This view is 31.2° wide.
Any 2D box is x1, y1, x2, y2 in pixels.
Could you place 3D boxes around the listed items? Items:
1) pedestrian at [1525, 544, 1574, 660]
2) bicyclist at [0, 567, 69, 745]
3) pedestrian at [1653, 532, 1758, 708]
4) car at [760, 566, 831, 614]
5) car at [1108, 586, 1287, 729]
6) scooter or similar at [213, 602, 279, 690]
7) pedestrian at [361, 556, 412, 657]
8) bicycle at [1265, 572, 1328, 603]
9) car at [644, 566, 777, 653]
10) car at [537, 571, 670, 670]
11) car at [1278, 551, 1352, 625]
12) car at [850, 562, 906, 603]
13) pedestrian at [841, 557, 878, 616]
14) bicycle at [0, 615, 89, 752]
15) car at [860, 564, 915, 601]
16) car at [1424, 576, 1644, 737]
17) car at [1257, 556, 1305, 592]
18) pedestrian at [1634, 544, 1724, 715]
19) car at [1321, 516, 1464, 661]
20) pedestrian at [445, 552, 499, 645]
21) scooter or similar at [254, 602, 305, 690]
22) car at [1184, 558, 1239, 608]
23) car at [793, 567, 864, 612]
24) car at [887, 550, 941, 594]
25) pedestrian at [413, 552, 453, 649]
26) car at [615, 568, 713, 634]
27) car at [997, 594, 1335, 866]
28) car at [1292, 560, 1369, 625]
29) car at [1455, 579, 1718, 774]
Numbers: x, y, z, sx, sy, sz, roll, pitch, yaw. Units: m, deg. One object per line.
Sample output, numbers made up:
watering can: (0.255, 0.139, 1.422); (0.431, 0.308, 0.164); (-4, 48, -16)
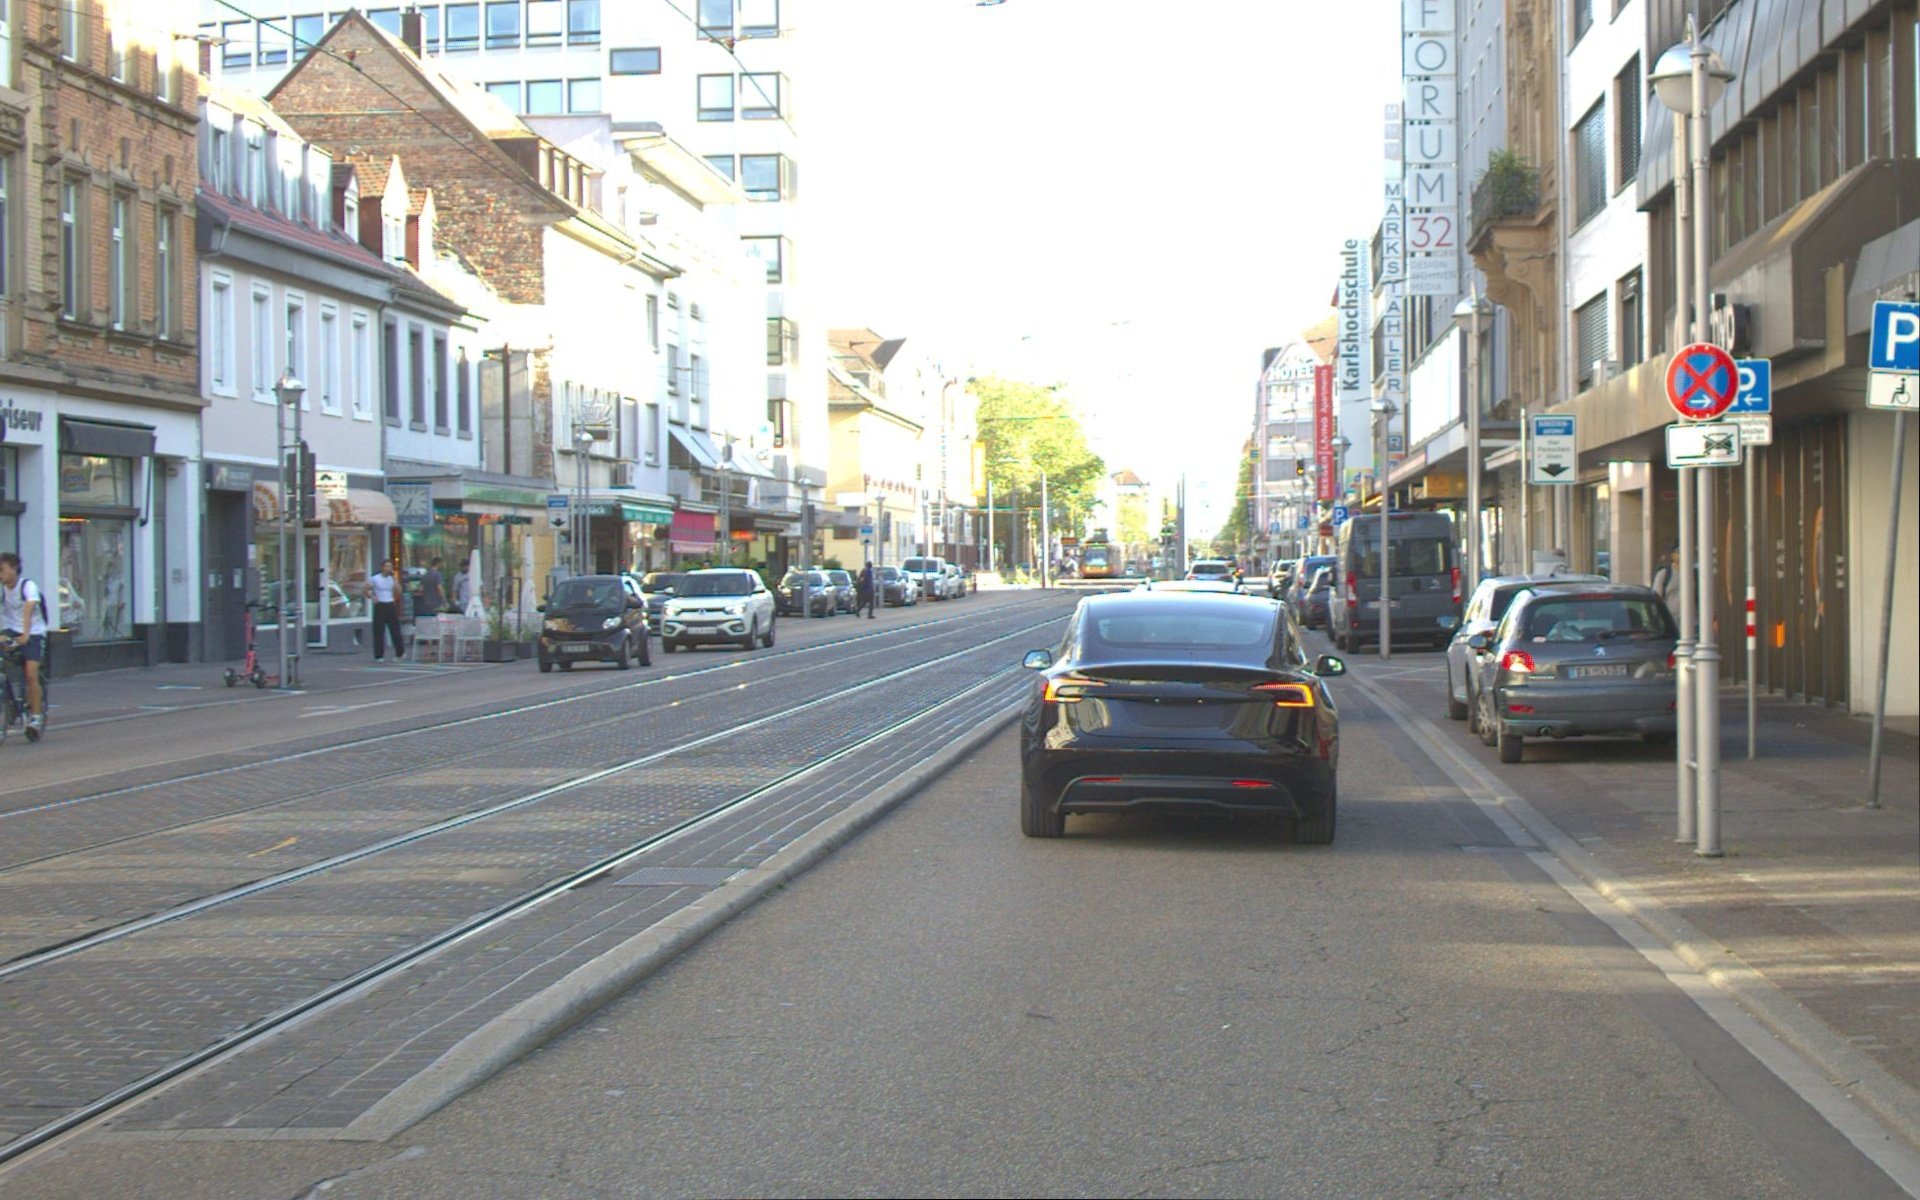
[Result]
pedestrian: (8.817, 0.025, 51.462); (0.556, 1.708, 0.954); (-2, 0, 3)
bicyclist: (-9.322, 0.537, 33.755); (0.750, 1.723, 1.145); (0, 0, 5)
pedestrian: (8.061, 0.209, 37.193); (0.923, 1.836, 0.999); (-2, 0, 5)
car: (-5.372, -0.349, 112.484); (1.770, 1.503, 3.863); (-1, 1, 5)
car: (2.502, 0.569, 36.223); (1.762, 1.414, 4.354); (0, 0, 4)
scooter or similar: (-10.131, 0.638, 48.784); (0.579, 1.197, 1.477); (1, 1, 1)
pedestrian: (-10.055, 0.110, 60.260); (0.614, 1.769, 0.718); (0, 0, 18)
bicycle: (11.880, -0.440, 121.282); (2.159, 1.093, 0.686); (-1, 1, 2)
car: (-4.817, 0.159, 66.991); (1.890, 1.588, 4.262); (-2, 0, 5)
car: (-5.779, 0.312, 56.050); (1.648, 1.560, 2.829); (0, 1, 5)
car: (9.208, -0.336, 89.324); (1.821, 1.864, 3.753); (0, 1, 5)
car: (-3.229, -0.712, 135.807); (1.718, 1.566, 3.848); (-1, 1, 6)
pedestrian: (-3.116, -0.424, 106.763); (0.773, 1.842, 0.827); (0, 1, 34)
bicycle: (-9.301, 0.807, 33.934); (0.750, 1.289, 2.025); (0, 0, 4)
car: (-2.982, -0.740, 141.760); (1.770, 1.503, 3.971); (-1, 1, 6)
car: (5.621, 0.513, 34.112); (1.745, 1.457, 4.295); (-1, 1, 4)
car: (13.989, -1.137, 150.018); (1.994, 1.537, 3.999); (0, 0, 4)
pedestrian: (7.441, 0.293, 35.604); (0.779, 1.746, 1.032); (0, 1, 5)
car: (7.846, -0.241, 62.790); (2.171, 2.453, 5.361); (-2, 1, 4)
pedestrian: (-9.304, -0.028, 65.541); (0.886, 1.769, 0.688); (0, 0, 3)
scooter or similar: (-9.645, 0.640, 48.748); (0.364, 1.197, 1.477); (2, 1, 1)
car: (9.697, -0.666, 132.374); (2.085, 1.864, 3.753); (0, 1, 5)
car: (-4.514, -0.384, 118.630); (1.770, 1.503, 3.859); (0, 1, 8)
car: (-2.072, -1.276, 155.104); (2.009, 1.954, 4.724); (-1, 1, 4)
pedestrian: (-9.951, 0.003, 64.892); (0.656, 1.817, 0.642); (0, 0, -1)
car: (-7.245, 0.010, 84.512); (1.676, 1.540, 3.742); (2, 1, 6)
car: (1.316, 0.714, 21.218); (1.870, 1.422, 4.364); (0, 1, 5)
car: (8.947, -0.192, 83.188); (1.752, 1.494, 3.753); (-1, 1, 5)
car: (5.214, 0.590, 29.081); (1.848, 1.457, 4.301); (-1, 1, 6)
